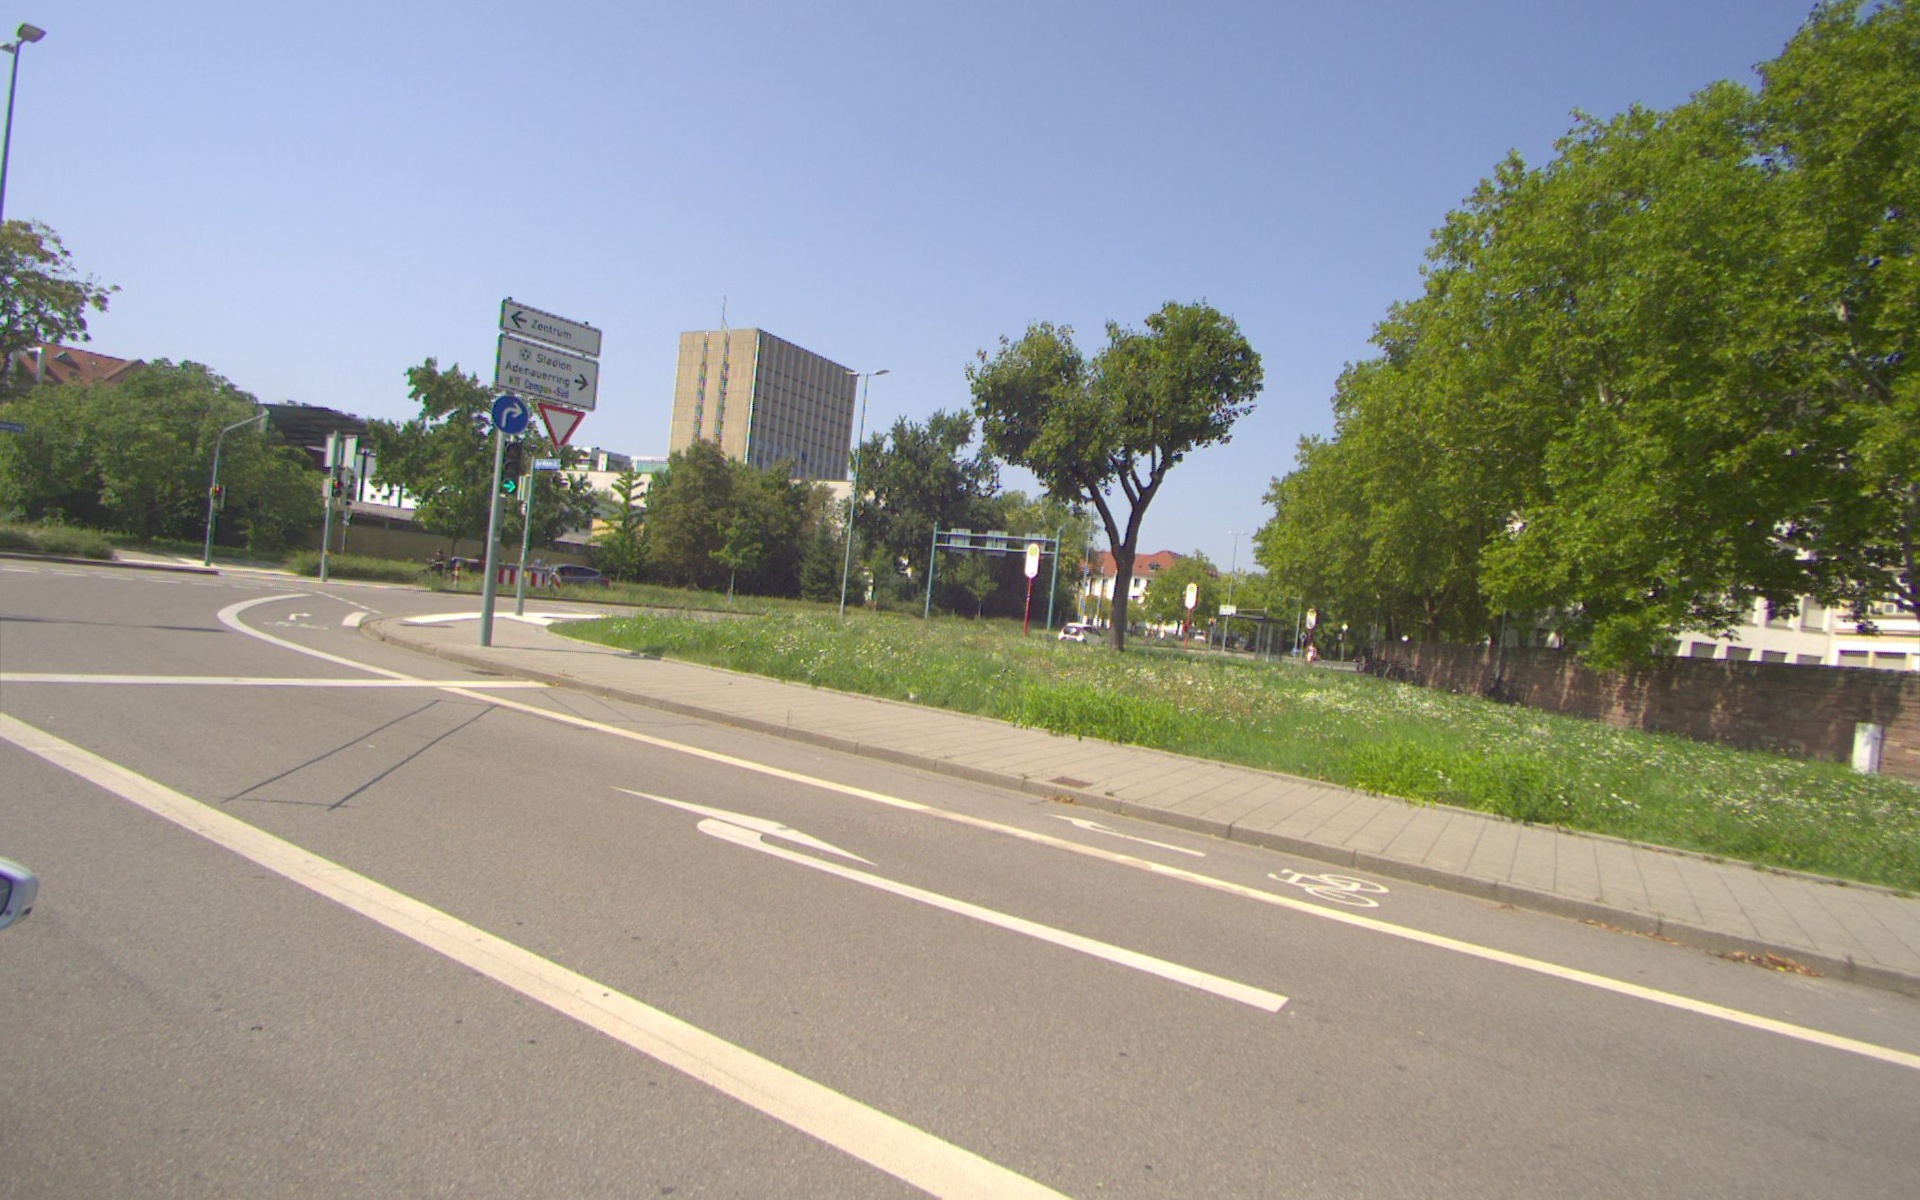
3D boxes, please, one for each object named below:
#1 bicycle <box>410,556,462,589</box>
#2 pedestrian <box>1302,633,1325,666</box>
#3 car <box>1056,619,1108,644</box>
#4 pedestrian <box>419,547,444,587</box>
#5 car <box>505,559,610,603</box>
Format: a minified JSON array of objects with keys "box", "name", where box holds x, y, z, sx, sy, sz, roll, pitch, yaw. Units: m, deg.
[{"box":[-23.282,-1.221,44.720,0.774,1.228,1.783,7,0,36],"name":"bicycle"},{"box":[22.778,3.180,64.888,1.052,2.039,1.235,7,1,12],"name":"pedestrian"},{"box":[7.084,1.867,58.425,1.566,1.151,3.253,7,0,35],"name":"car"},{"box":[-23.389,-1.470,44.524,0.768,1.690,0.547,7,1,36],"name":"pedestrian"},{"box":[-15.992,-0.745,40.106,1.764,1.374,3.414,4,-1,35],"name":"car"}]
